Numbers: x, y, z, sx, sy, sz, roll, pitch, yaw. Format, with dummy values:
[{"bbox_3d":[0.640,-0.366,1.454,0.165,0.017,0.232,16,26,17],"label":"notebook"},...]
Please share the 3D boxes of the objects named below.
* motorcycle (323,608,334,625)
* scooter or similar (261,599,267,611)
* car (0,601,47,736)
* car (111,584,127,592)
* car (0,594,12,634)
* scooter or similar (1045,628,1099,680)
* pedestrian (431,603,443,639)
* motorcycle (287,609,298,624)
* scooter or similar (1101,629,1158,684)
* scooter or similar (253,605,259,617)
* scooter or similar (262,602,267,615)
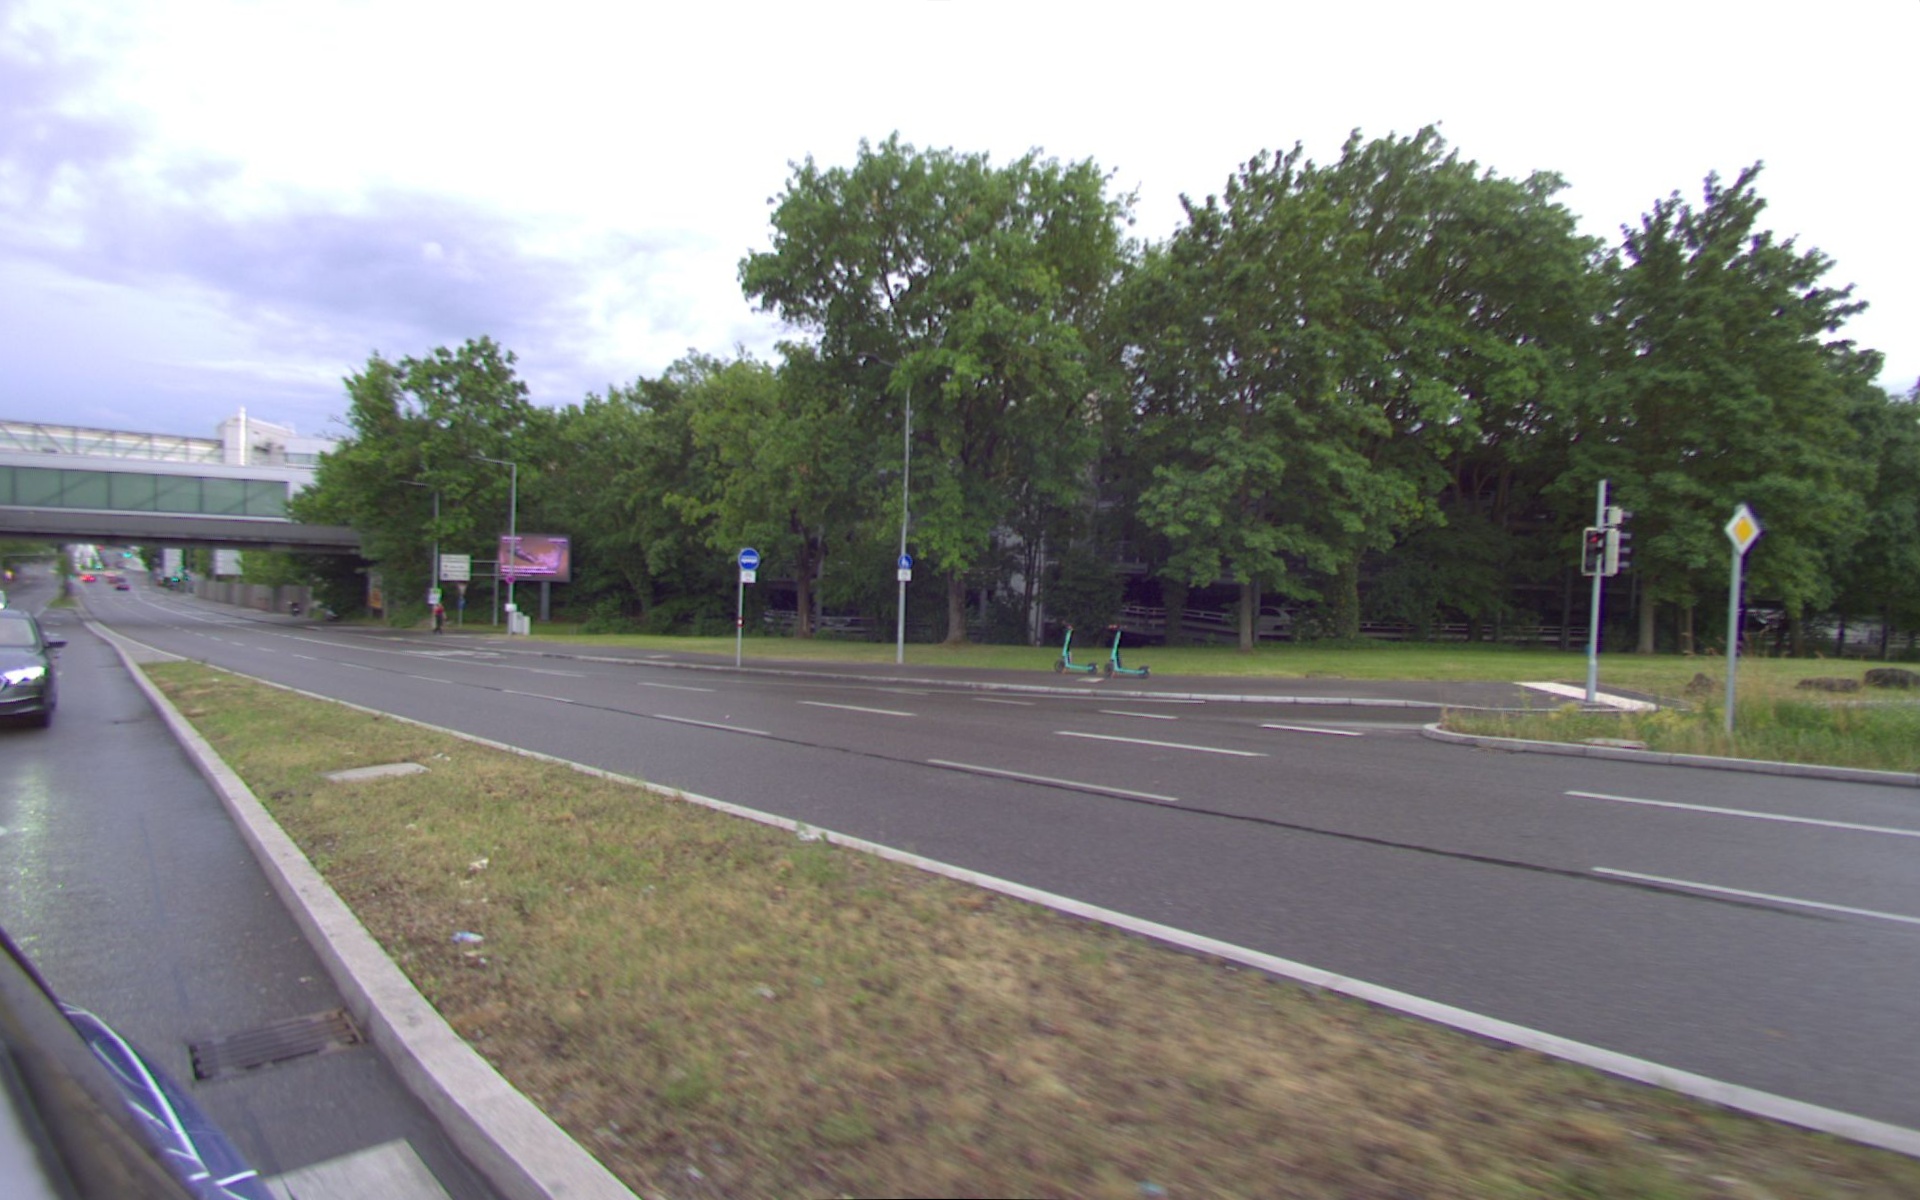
[{"bbox_3d":[-46.025,1.180,73.729,0.462,1.167,1.936,2,-1,-38],"label":"motorcycle"},{"bbox_3d":[-68.971,0.497,100.260,0.307,1.227,1.312,2,-1,-30],"label":"scooter or similar"},{"bbox_3d":[-12.837,0.781,12.808,1.793,1.557,4.069,3,-2,-41],"label":"car"},{"bbox_3d":[-152.169,-2.103,183.109,2.039,1.372,4.762,2,-1,-43],"label":"car"},{"bbox_3d":[-50.892,0.679,52.762,2.005,1.945,4.339,1,1,-41],"label":"car"},{"bbox_3d":[2.717,1.291,24.587,1.304,1.227,0.309,-1,-1,35],"label":"scooter or similar"},{"bbox_3d":[-27.457,1.095,53.151,0.512,1.829,0.801,1,0,-31],"label":"pedestrian"},{"bbox_3d":[-56.975,1.380,86.320,0.463,1.214,1.999,2,-1,-42],"label":"motorcycle"},{"bbox_3d":[3.914,1.294,23.383,1.304,1.227,0.309,-1,-1,35],"label":"scooter or similar"},{"bbox_3d":[-70.932,1.114,101.989,0.307,1.227,1.309,2,-1,-41],"label":"scooter or similar"},{"bbox_3d":[-67.580,0.816,98.354,0.307,1.227,1.311,2,-1,-37],"label":"scooter or similar"}]
